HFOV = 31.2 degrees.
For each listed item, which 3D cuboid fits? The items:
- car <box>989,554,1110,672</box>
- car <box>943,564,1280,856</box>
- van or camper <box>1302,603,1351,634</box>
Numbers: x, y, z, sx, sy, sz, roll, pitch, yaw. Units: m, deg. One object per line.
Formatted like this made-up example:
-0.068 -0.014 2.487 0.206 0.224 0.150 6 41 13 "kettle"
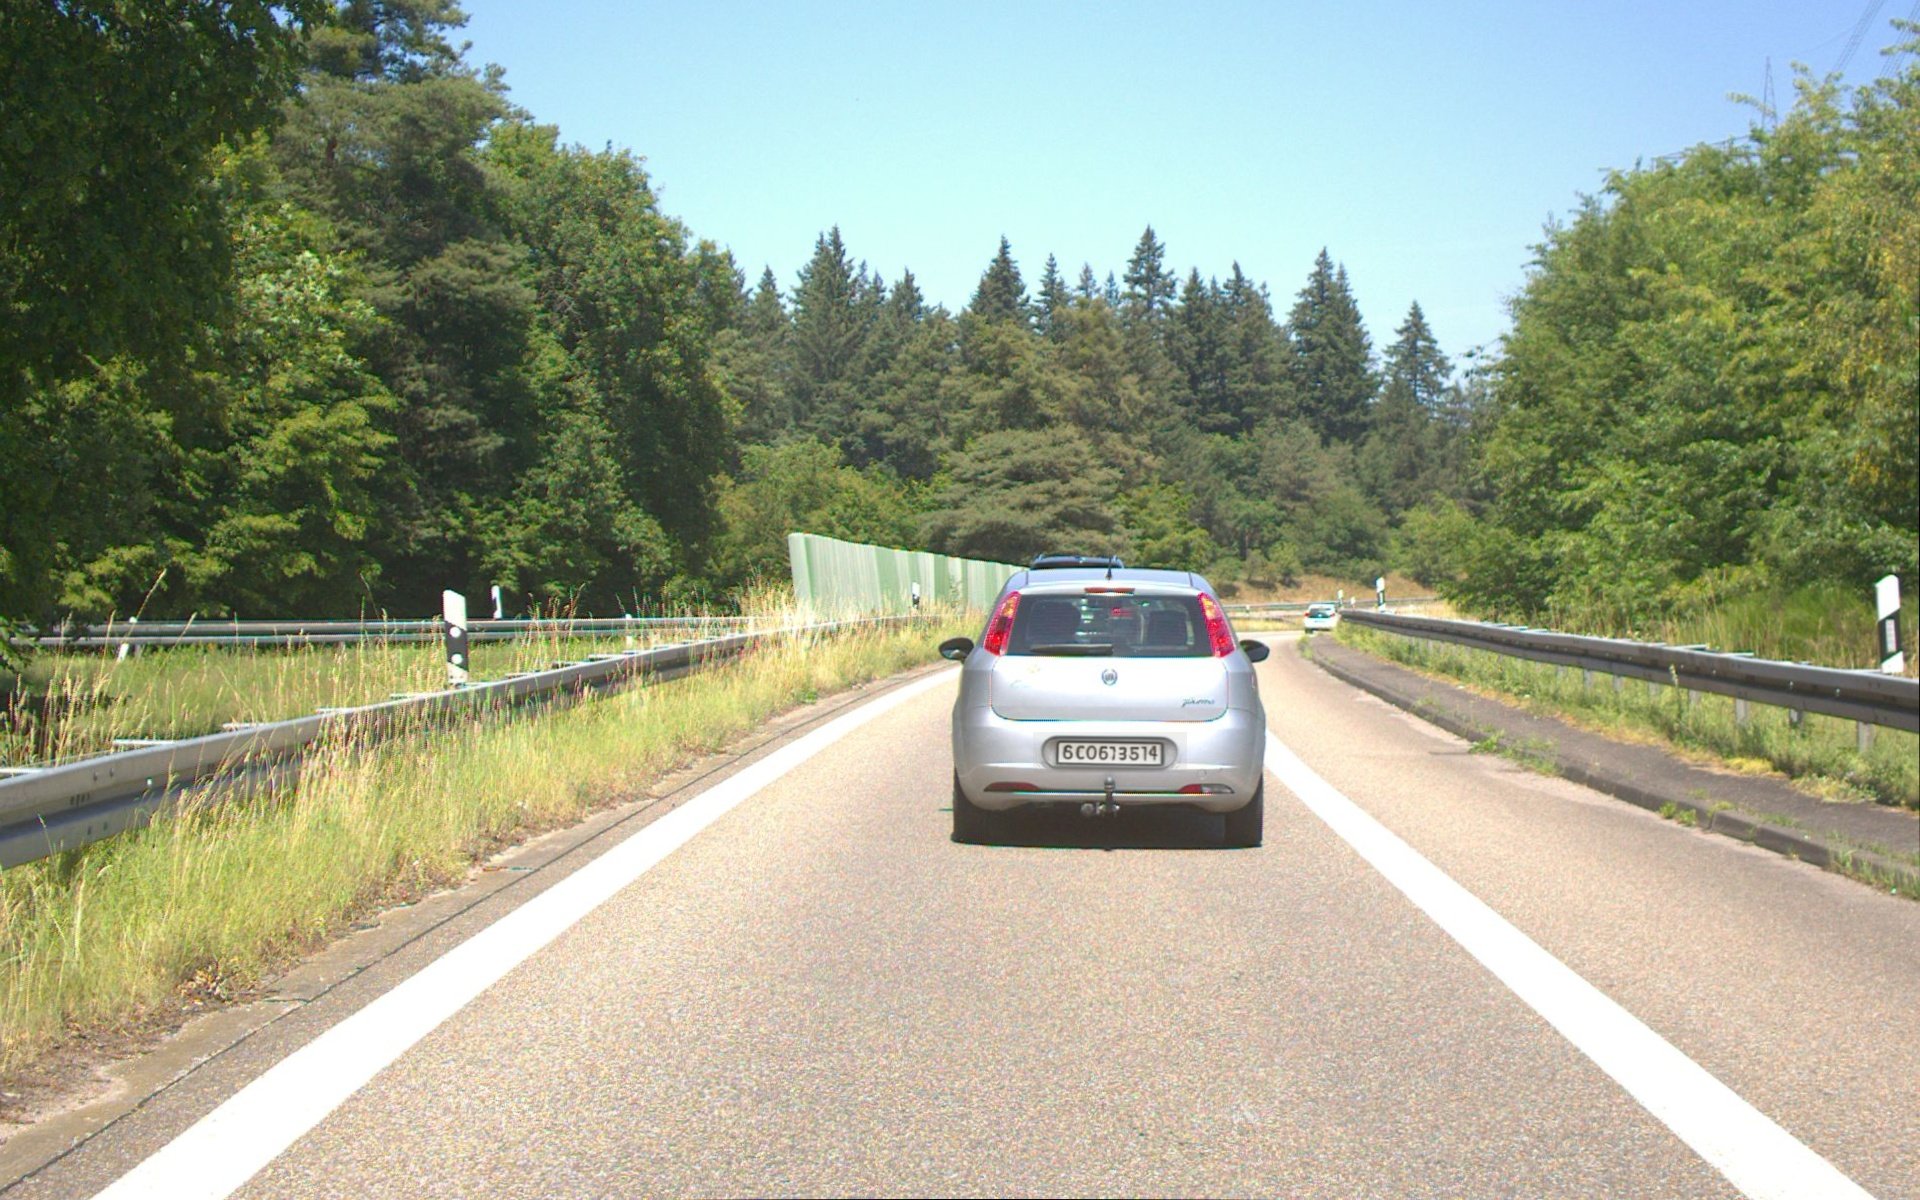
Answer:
1.350 0.181 50.907 1.706 1.670 3.397 1 0 3 "car"
0.768 0.552 19.319 1.706 1.477 3.398 1 0 0 "car"
18.259 0.936 171.270 1.808 1.481 3.997 0 1 15 "van or camper"
